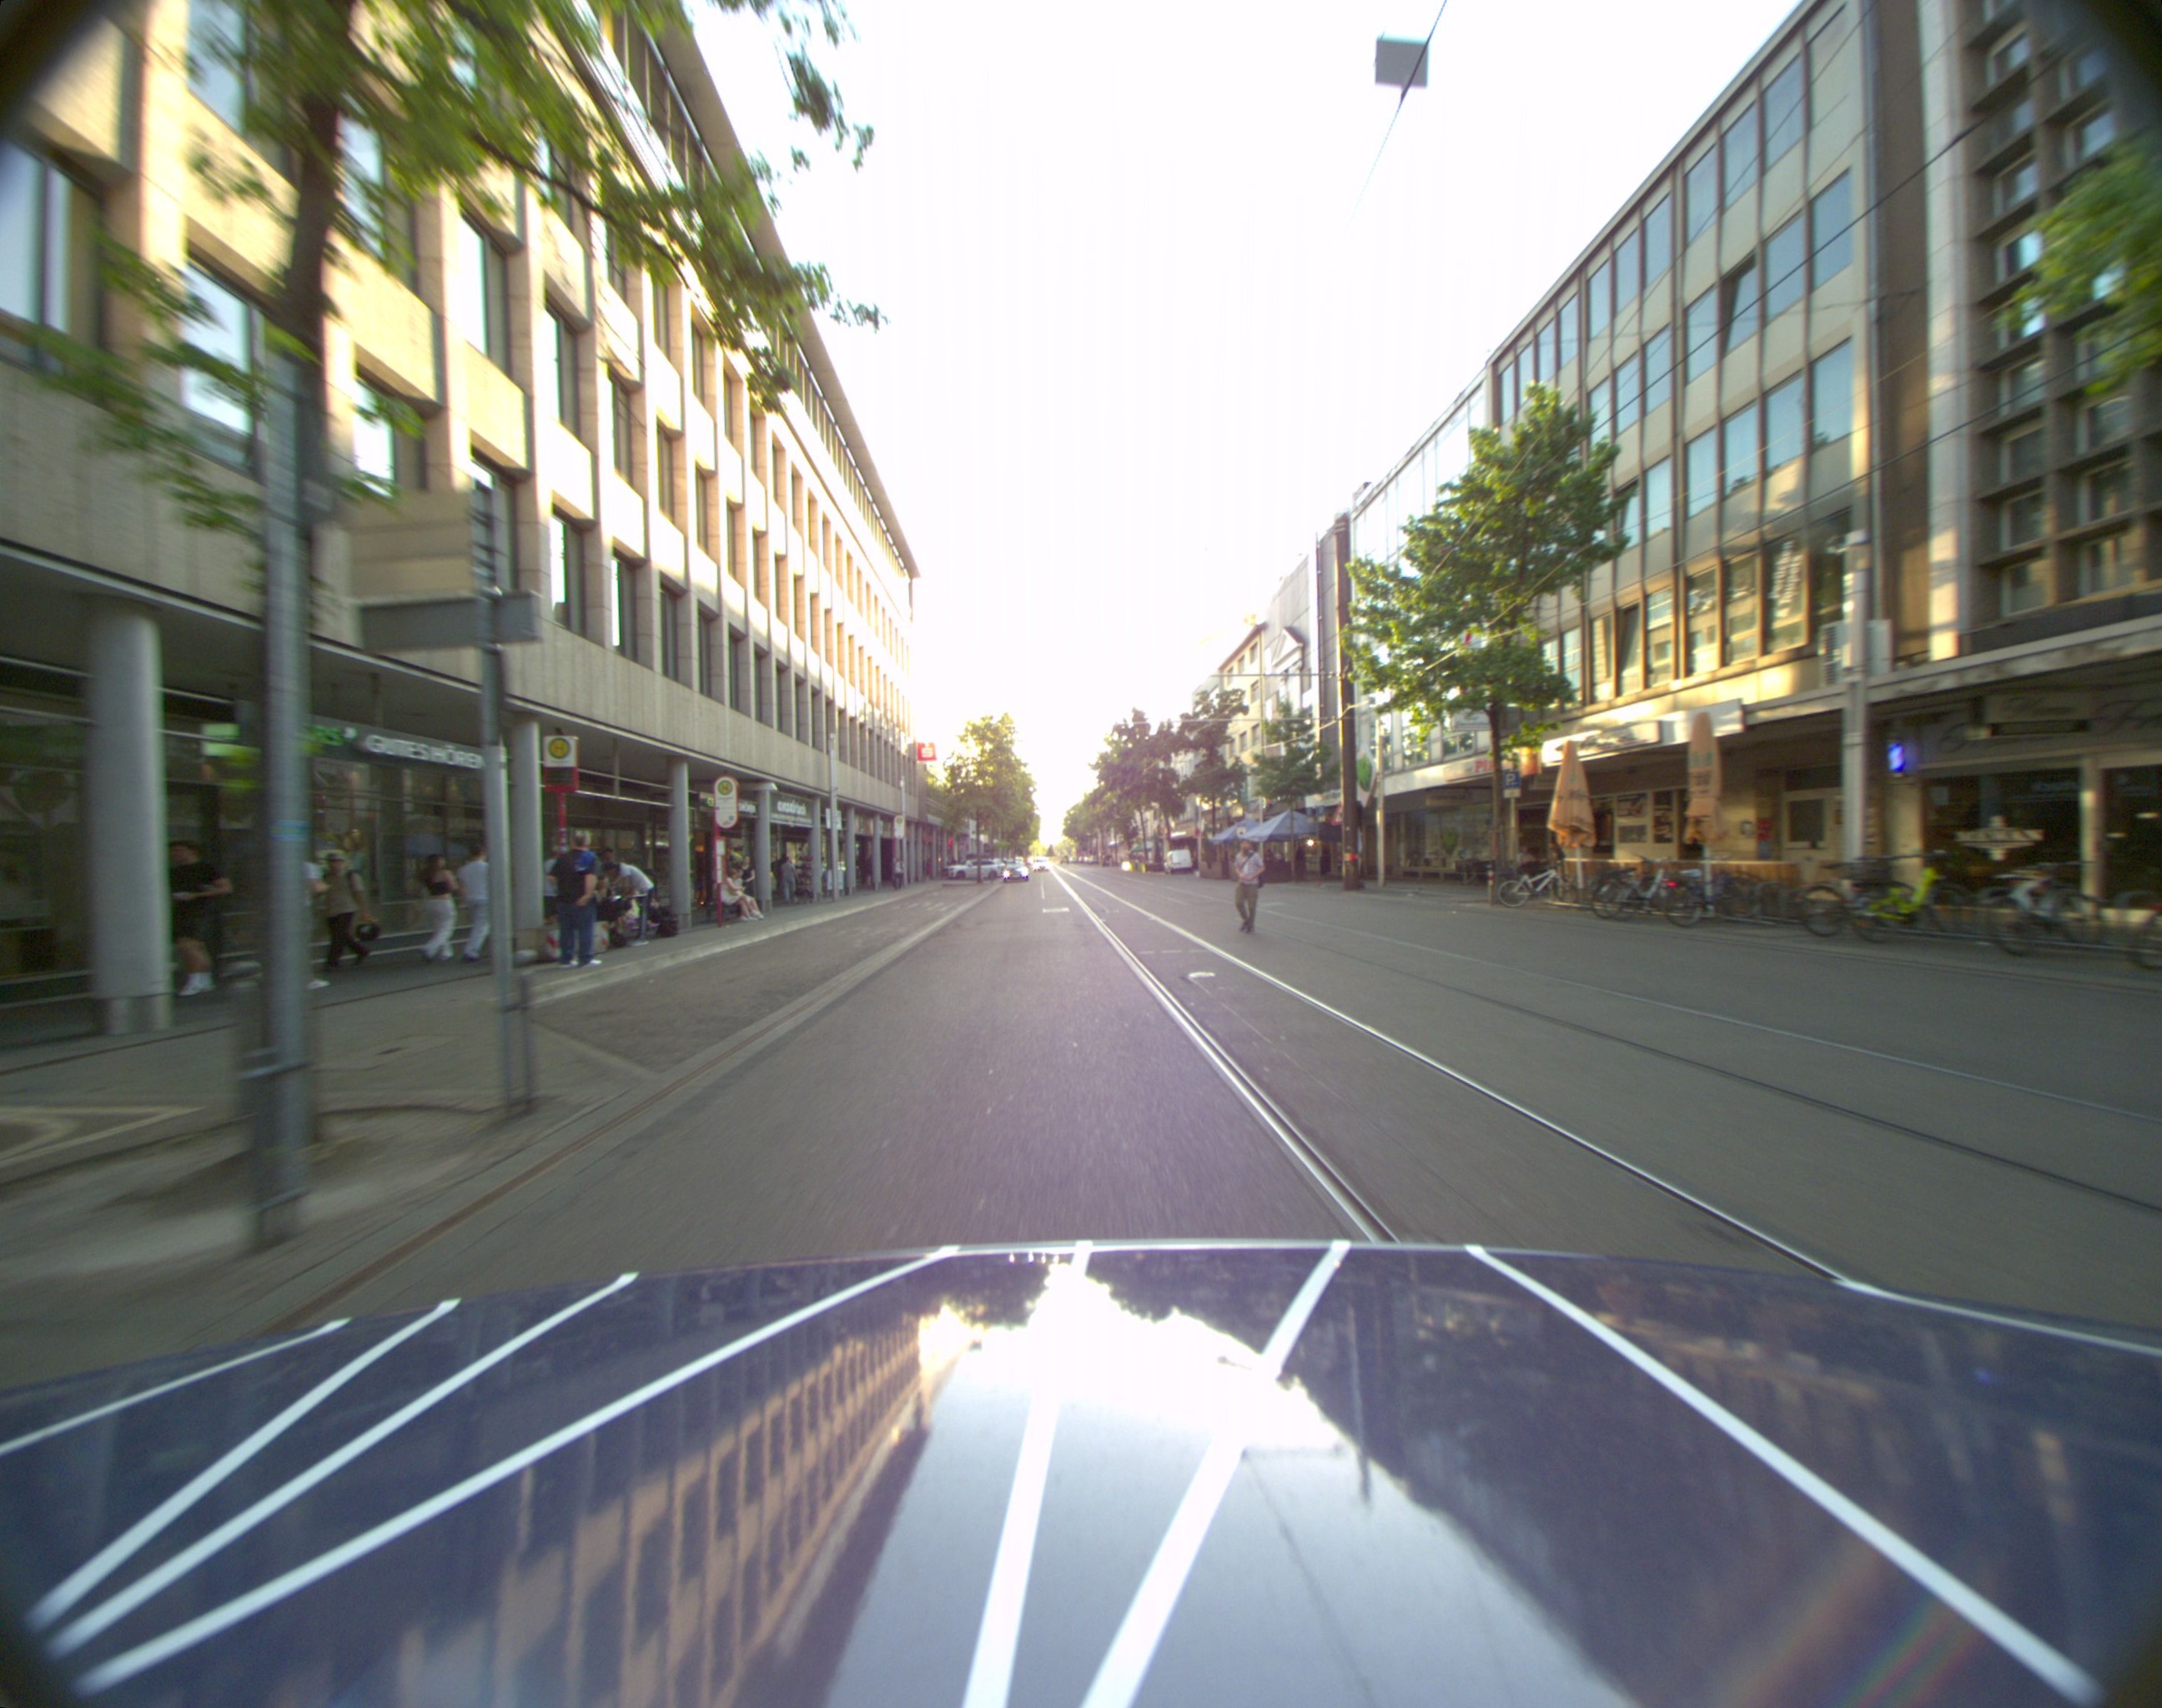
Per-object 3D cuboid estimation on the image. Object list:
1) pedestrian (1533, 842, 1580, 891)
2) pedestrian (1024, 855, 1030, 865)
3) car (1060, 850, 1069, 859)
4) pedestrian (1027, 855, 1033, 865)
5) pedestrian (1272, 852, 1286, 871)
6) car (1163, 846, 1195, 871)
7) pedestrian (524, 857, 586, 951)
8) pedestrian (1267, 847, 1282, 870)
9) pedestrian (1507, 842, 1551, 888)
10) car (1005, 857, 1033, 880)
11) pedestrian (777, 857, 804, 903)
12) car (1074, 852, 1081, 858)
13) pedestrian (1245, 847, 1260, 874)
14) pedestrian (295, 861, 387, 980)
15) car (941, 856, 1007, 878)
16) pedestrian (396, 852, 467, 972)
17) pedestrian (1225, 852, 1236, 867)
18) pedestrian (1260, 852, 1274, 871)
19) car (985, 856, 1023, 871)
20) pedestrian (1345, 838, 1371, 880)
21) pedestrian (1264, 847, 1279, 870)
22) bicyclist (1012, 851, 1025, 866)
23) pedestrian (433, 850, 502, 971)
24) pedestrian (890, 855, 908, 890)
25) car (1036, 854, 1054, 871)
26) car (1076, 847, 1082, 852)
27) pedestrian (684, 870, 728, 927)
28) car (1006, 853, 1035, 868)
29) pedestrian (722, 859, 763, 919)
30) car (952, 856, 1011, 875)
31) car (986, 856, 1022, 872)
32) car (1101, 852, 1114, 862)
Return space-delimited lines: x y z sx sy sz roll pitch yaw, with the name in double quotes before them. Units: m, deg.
"pedestrian" 13.470 0.333 21.529 0.672 1.318 0.911 -4 1 -4
"pedestrian" -7.951 0.880 111.277 0.651 1.451 0.649 -1 1 -19
"car" -3.863 0.185 177.551 1.999 2.002 3.999 -1 0 -2
"pedestrian" -7.685 0.847 113.911 0.651 1.451 0.649 -1 1 -19
"pedestrian" 12.492 0.454 47.915 0.643 1.150 0.665 -4 1 -5
"car" 7.785 0.371 60.548 1.831 1.811 4.329 -4 0 -1
"pedestrian" -9.572 0.892 13.841 0.650 1.651 0.650 0 1 -2
"pedestrian" 12.670 0.283 49.675 0.662 1.426 0.642 -6 2 -3
"pedestrian" 13.383 0.326 22.723 0.672 1.318 0.911 -4 1 -4
"car" -4.343 1.003 53.476 1.799 1.400 4.563 -2 1 -3
"pedestrian" -10.449 0.924 27.370 0.689 1.652 0.722 0 1 -1
"car" -0.875 0.268 193.893 1.799 1.501 3.999 -1 0 -2
"pedestrian" 10.287 0.374 45.503 0.658 1.543 0.565 -4 2 -4
"pedestrian" -10.693 0.935 11.001 0.650 1.651 0.680 0 1 -1
"car" -8.192 1.008 58.478 4.646 1.619 1.913 1 -2 -34
"pedestrian" -9.923 0.862 11.628 0.540 1.796 0.604 0 1 -4
"pedestrian" 12.111 0.470 61.435 0.650 1.168 0.649 -2 1 -8
"pedestrian" 11.688 0.485 47.735 0.643 1.150 0.665 -4 1 -5
"car" -9.202 1.168 90.612 4.005 1.501 1.861 -4 1 -32
"pedestrian" 12.230 0.211 33.574 0.686 1.782 0.990 -4 1 -2
"pedestrian" 12.627 0.278 50.393 0.662 1.426 0.642 -6 2 -3
"bicyclist" -5.907 0.403 71.507 0.895 1.406 0.762 -2 1 22
"pedestrian" -9.353 0.842 11.600 0.540 1.796 0.604 0 1 -4
"pedestrian" -8.491 0.878 35.460 0.670 1.579 0.638 -3 1 -3
"car" -4.244 0.989 90.205 1.999 2.002 3.999 -1 0 -2
"car" -0.723 -1.319 241.024 1.799 1.501 3.999 -1 0 -2
"pedestrian" -9.004 1.069 18.254 0.720 1.307 0.532 -2 1 -1
"car" -8.592 0.894 108.216 1.860 1.776 4.007 -4 1 32
"pedestrian" -8.940 0.909 20.073 0.726 1.561 0.736 0 1 -1
"car" -8.585 1.001 65.799 4.647 1.578 1.913 1 0 -37
"car" -9.675 1.260 95.309 4.004 1.776 1.861 -4 1 -26
"car" 4.255 0.486 122.143 1.799 1.501 3.999 -1 0 -2
